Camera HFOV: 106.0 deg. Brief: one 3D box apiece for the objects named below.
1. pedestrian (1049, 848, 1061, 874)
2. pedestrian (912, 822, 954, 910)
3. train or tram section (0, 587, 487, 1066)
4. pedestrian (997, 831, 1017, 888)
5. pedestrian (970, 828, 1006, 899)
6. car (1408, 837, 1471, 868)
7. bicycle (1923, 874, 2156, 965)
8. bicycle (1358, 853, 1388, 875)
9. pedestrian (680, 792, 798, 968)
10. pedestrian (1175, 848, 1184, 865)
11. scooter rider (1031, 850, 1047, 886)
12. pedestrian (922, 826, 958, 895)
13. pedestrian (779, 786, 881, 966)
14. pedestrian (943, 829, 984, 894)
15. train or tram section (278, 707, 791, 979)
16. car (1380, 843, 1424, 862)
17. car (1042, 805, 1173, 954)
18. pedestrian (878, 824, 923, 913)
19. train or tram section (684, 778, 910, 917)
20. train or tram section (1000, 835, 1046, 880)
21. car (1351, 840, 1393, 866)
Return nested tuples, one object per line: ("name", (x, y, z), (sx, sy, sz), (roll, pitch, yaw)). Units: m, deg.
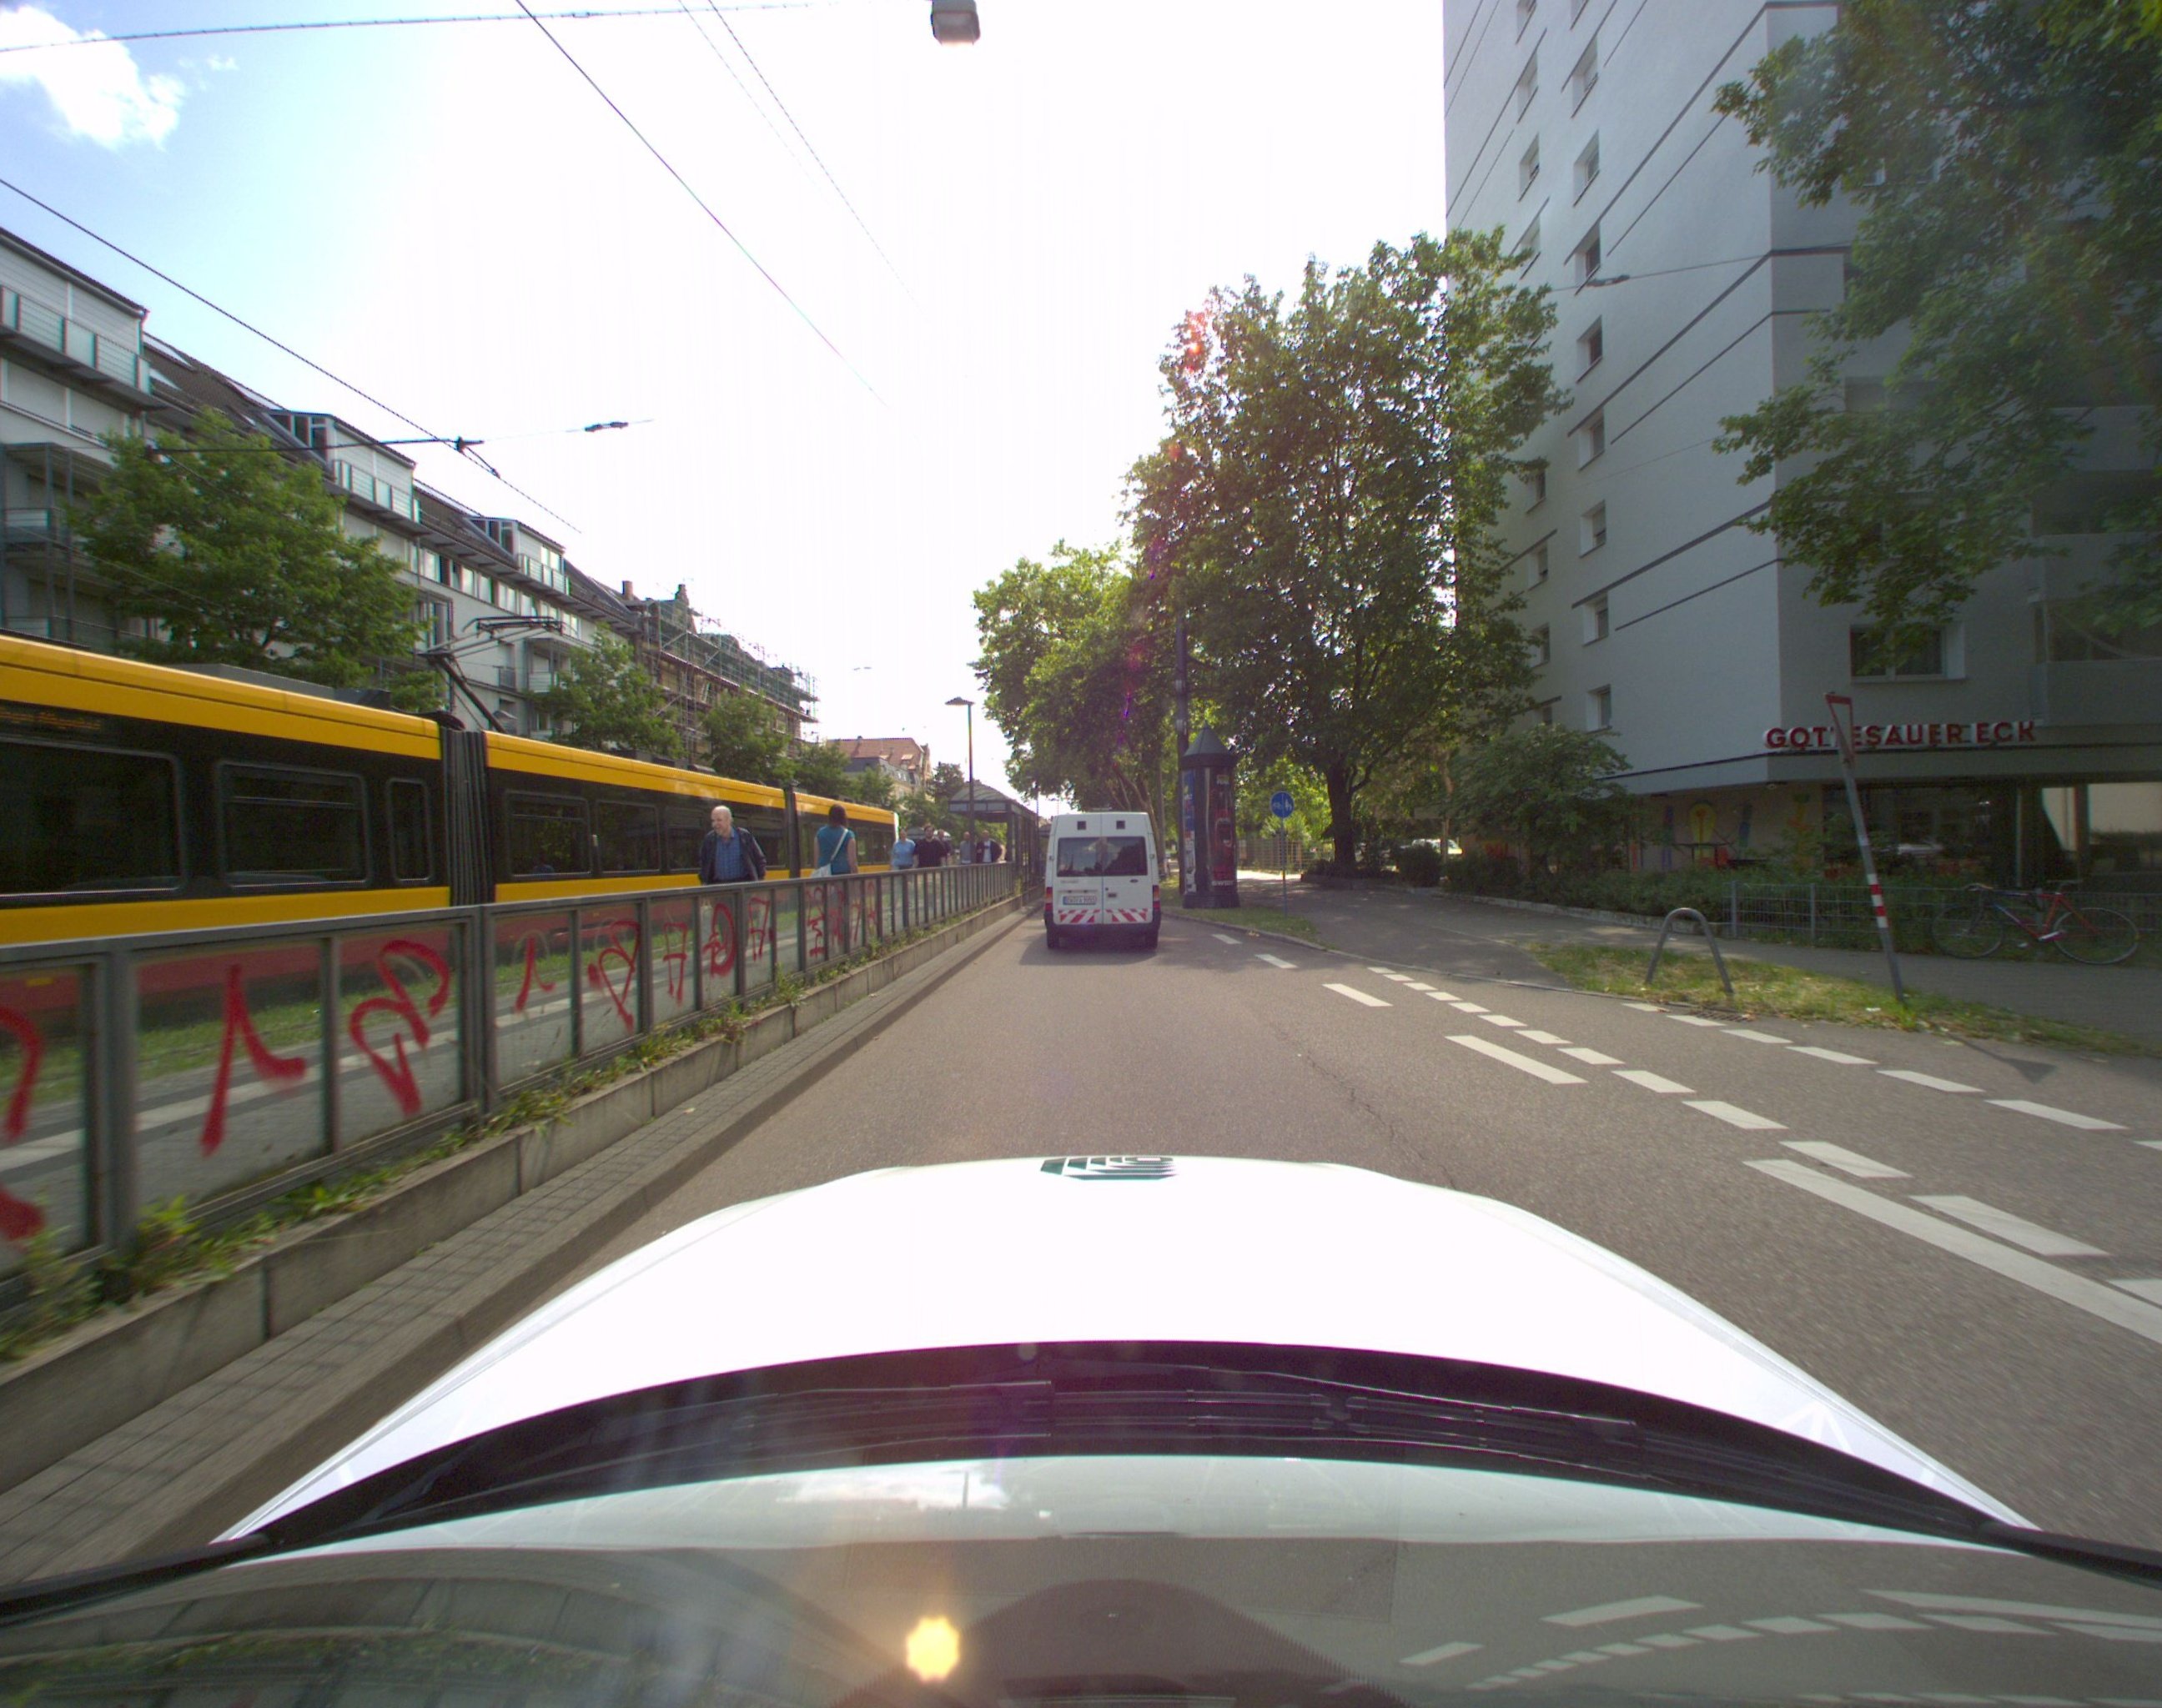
("pedestrian", (-1.558, 0.436, 49.054), (0.673, 1.515, 0.596), (-2, 0, 0))
("pedestrian", (-3.176, 0.257, 17.538), (0.699, 1.849, 0.789), (-1, -1, 1))
("train or tram section", (-9.532, -0.187, 4.341), (2.796, 3.584, 13.021), (-1, 0, 2))
("pedestrian", (-2.504, 0.198, 27.632), (0.472, 1.900, 0.533), (-2, 0, -23))
("pedestrian", (-2.561, 0.251, 22.423), (0.807, 1.872, 1.031), (-1, 0, 1))
("car", (21.765, -0.076, 49.687), (1.731, 1.755, 4.771), (-1, 0, 0))
("bicycle", (11.377, 0.755, 9.745), (1.706, 1.009, 0.537), (-1, 0, 29))
("bicycle", (14.374, 0.485, 40.126), (0.605, 1.073, 1.834), (-2, 0, -7))
("pedestrian", (-3.643, 0.269, 8.750), (0.854, 1.775, 0.877), (-1, 0, 2))
("pedestrian", (9.258, 0.239, 76.687), (0.691, 1.625, 0.637), (-2, 0, 1))
("scooter rider", (-1.901, 0.621, 36.945), (0.652, 1.570, 0.901), (-2, 0, 1))
("pedestrian", (-3.823, 0.167, 22.174), (0.709, 1.801, 1.132), (-1, 0, 1))
("pedestrian", (-2.773, 0.234, 9.088), (0.824, 1.899, 0.847), (-1, -1, 2))
("pedestrian", (-3.382, 0.209, 23.529), (0.883, 1.801, 1.495), (-1, 0, 1))
("train or tram section", (-9.167, -0.150, 16.076), (2.785, 3.584, 10.408), (-1, 0, 2))
("car", (24.151, -0.108, 61.386), (1.800, 1.402, 4.048), (-1, 0, 2))
("car", (0.489, 0.399, 15.419), (2.039, 2.333, 4.716), (-2, 0, 1))
("pedestrian", (-3.886, 0.303, 17.583), (0.699, 1.849, 0.908), (-1, 0, 1))
("train or tram section", (-8.809, -0.178, 27.802), (2.713, 3.584, 13.021), (-1, 0, 2))
("train or tram section", (-4.919, 0.299, 71.725), (2.713, 3.584, 13.021), (-1, 0, 2))
("car", (21.834, -0.094, 61.259), (1.799, 1.815, 4.343), (-1, 0, 3))
